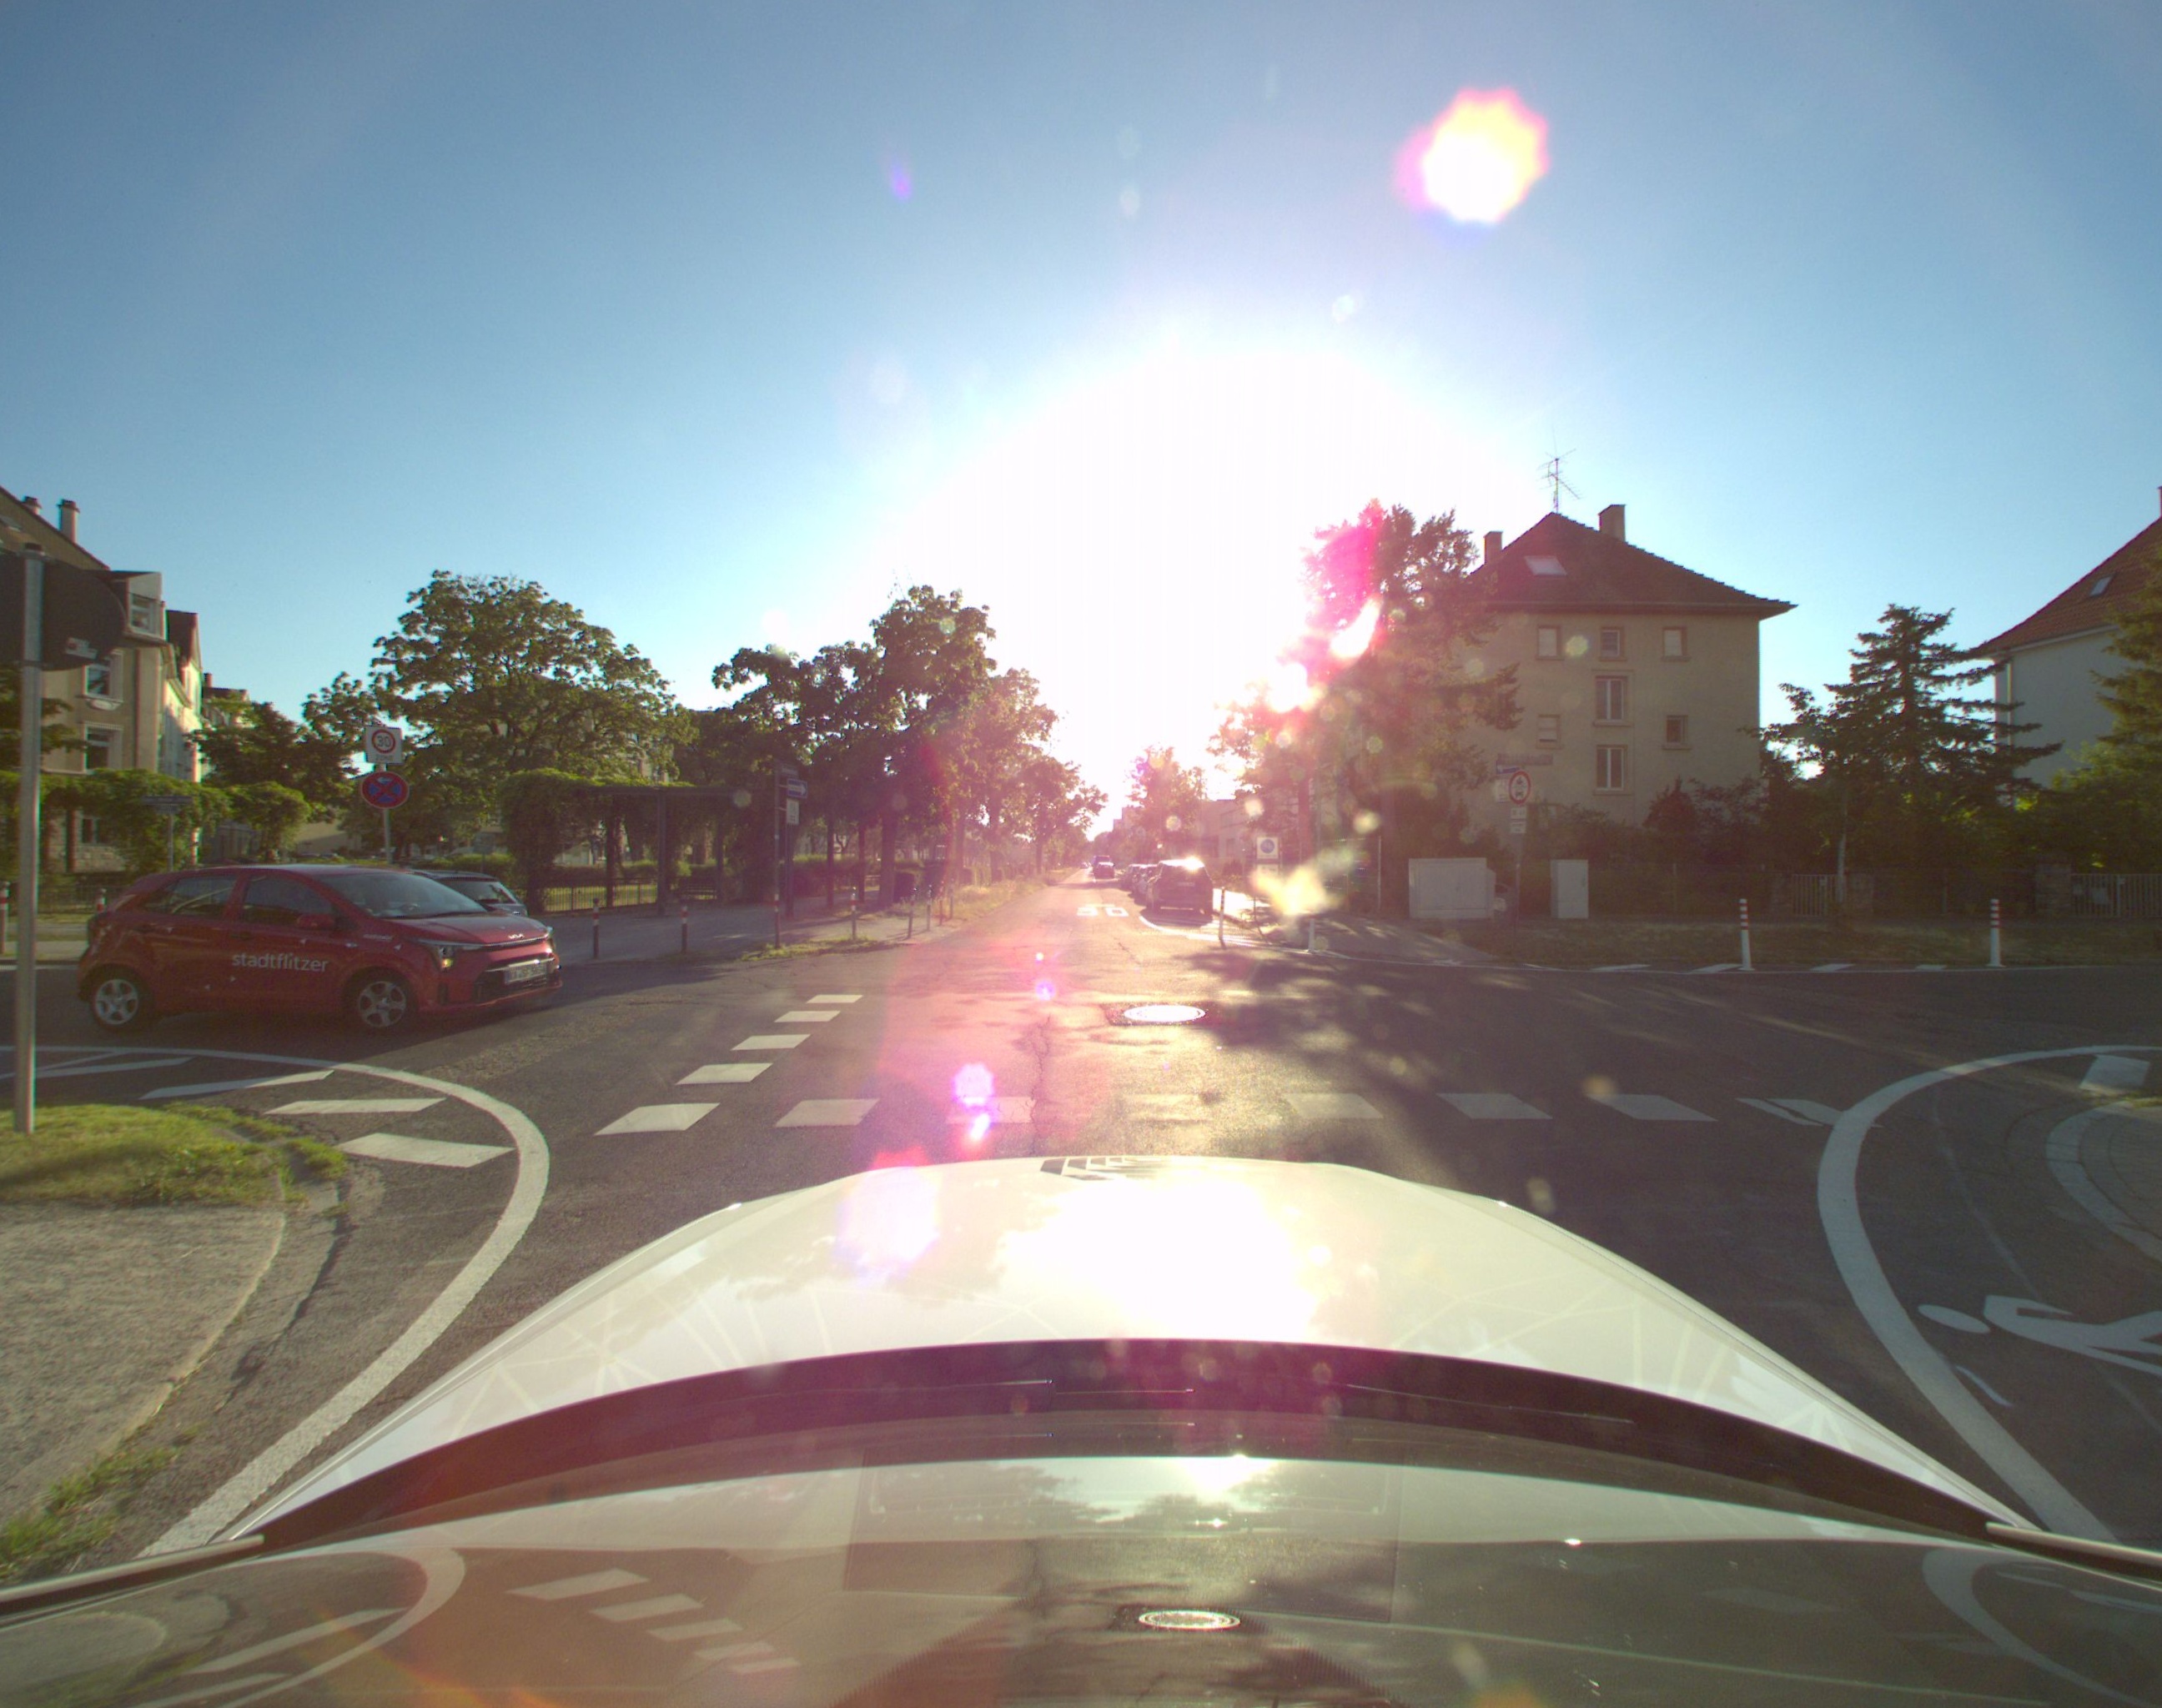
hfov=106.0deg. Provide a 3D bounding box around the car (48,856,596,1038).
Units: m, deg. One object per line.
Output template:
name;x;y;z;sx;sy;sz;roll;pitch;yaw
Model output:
car;-7.123;0.821;7.927;3.744;1.526;1.772;-1;-1;3

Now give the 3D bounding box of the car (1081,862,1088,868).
car;0.922;3.096;231.174;1.860;1.618;3.998;0;-1;-1

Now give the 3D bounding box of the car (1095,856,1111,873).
car;2.725;1.307;101.385;1.987;2.124;4.000;0;-1;1

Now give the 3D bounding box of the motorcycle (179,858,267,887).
motorcycle;-45.171;0.959;42.916;3.222;1.487;0.850;-1;-1;-12

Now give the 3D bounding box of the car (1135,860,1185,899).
car;3.318;1.056;34.697;1.759;1.526;3.772;-1;-1;0

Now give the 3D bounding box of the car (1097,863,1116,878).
car;2.575;1.676;83.615;1.752;1.518;3.757;0;-1;-2

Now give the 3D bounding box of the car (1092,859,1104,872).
car;2.888;1.982;140.557;1.987;2.124;4.000;0;-1;1

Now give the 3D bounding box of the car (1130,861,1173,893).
car;3.377;1.091;39.624;1.725;1.518;3.758;0;-1;-1

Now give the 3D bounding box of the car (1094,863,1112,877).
car;2.371;1.726;88.044;1.725;1.518;3.757;0;-1;-2

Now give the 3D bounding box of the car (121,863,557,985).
car;-9.831;0.877;11.071;4.190;1.473;1.822;-1;-1;-1

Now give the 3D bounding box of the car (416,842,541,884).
car;-41.851;0.626;56.876;6.707;2.745;2.296;0;-1;-29

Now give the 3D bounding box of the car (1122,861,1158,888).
car;3.504;1.223;48.766;1.760;1.526;3.769;-1;-1;-2

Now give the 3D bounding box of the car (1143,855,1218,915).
car;3.045;0.933;25.828;1.811;1.641;4.215;3;-1;0
